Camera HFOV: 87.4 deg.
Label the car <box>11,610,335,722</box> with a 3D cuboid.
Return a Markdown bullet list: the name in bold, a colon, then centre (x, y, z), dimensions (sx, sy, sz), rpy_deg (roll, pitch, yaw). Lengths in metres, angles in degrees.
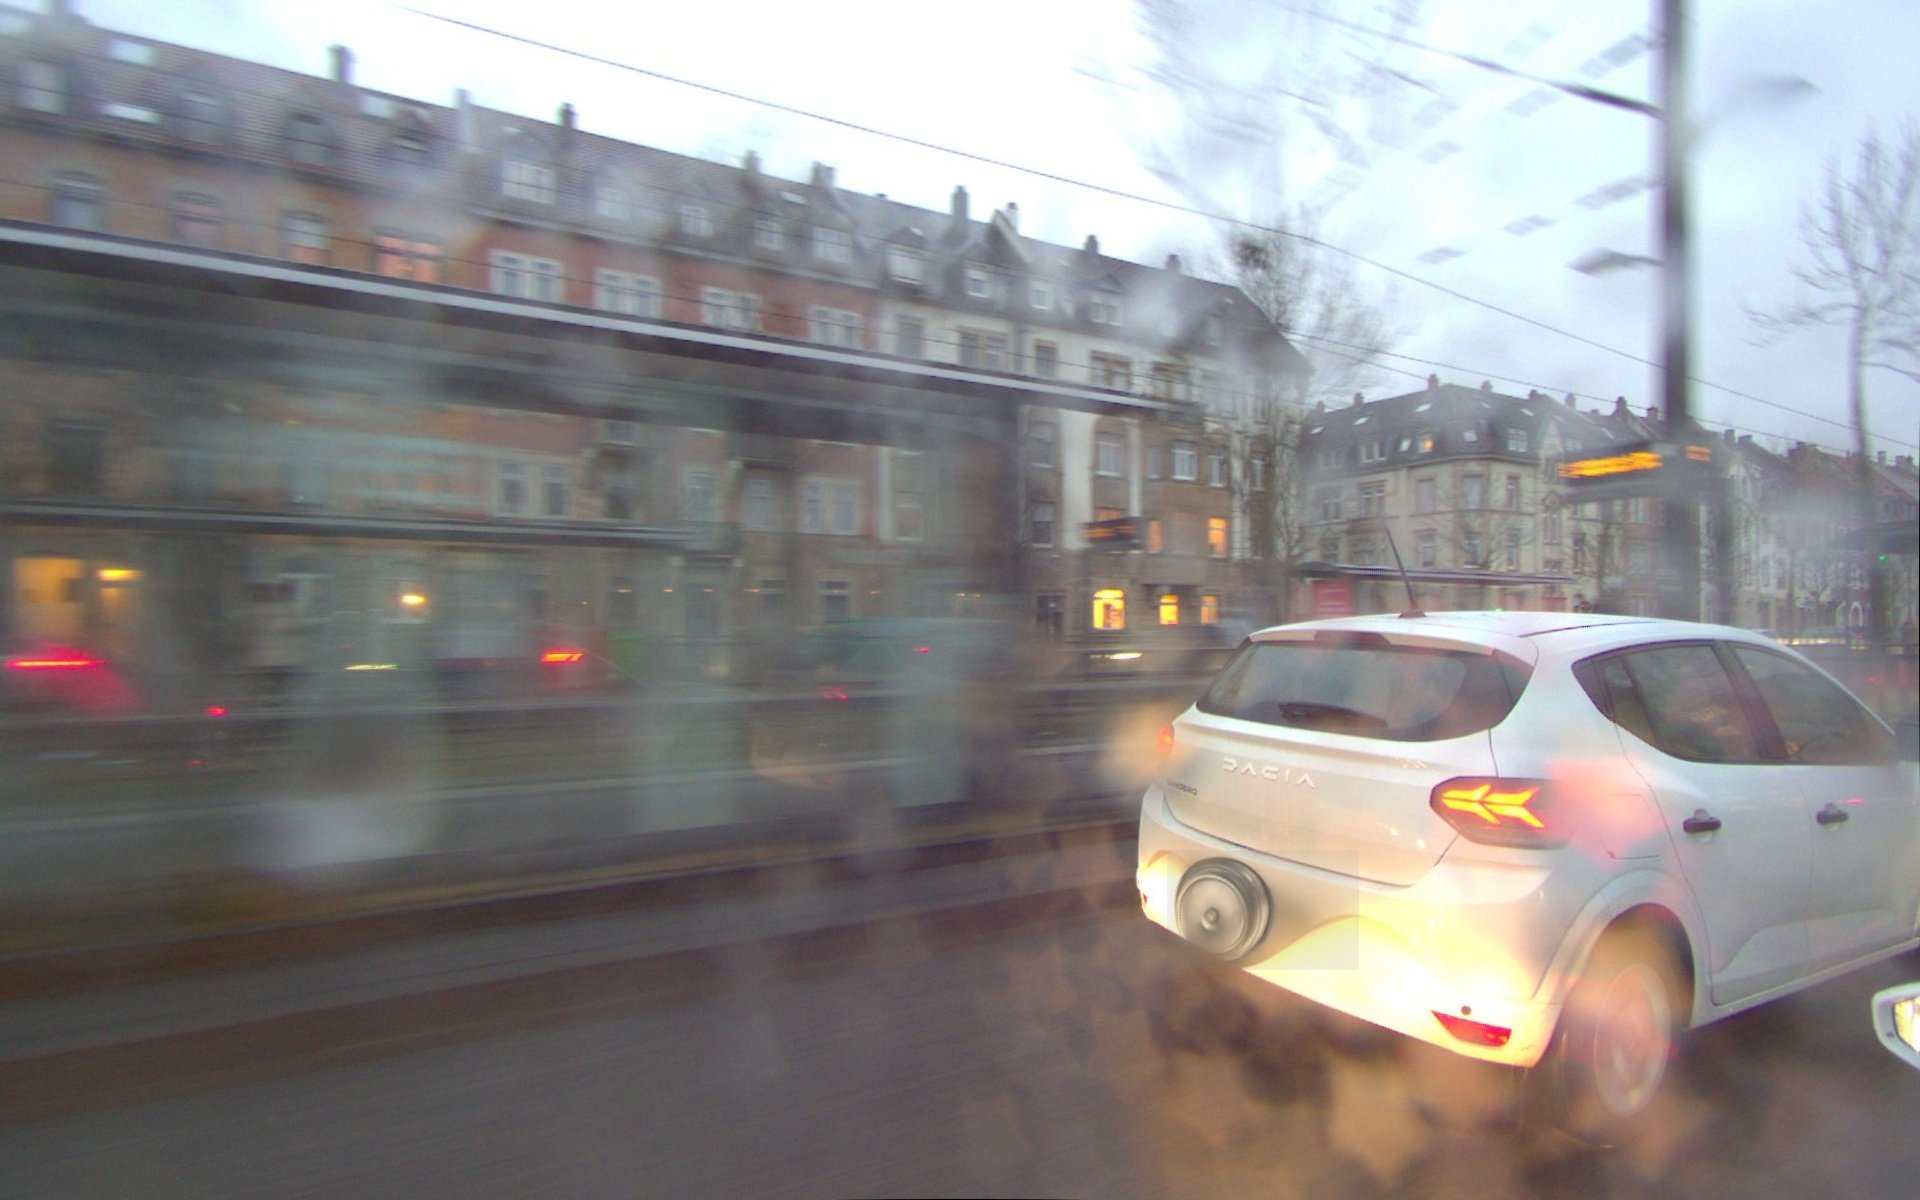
- **car**: centre (-12.768, 1.034, 16.683), dimensions (3.953, 1.637, 1.985), rpy_deg (1, -2, -30)

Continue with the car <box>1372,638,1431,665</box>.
- **car**: centre (18.981, 2.194, 43.330), dimensions (1.551, 1.084, 3.420), rpy_deg (-1, -2, 10)

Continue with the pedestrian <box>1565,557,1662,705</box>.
- **pedestrian**: centre (7.517, 0.349, 11.556), dimensions (0.739, 1.628, 0.706), rpy_deg (1, 0, -35)

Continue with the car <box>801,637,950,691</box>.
- **car**: centre (-2.678, 2.001, 32.135), dimensions (4.415, 1.557, 1.831), rpy_deg (1, -1, -30)

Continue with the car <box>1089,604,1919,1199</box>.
- **car**: centre (2.589, 0.794, 4.021), dimensions (3.952, 1.506, 1.619), rpy_deg (0, -2, -30)

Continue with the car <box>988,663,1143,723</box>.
- **car**: centre (2.976, 2.570, 28.394), dimensions (3.950, 1.461, 1.986), rpy_deg (1, -2, -29)
